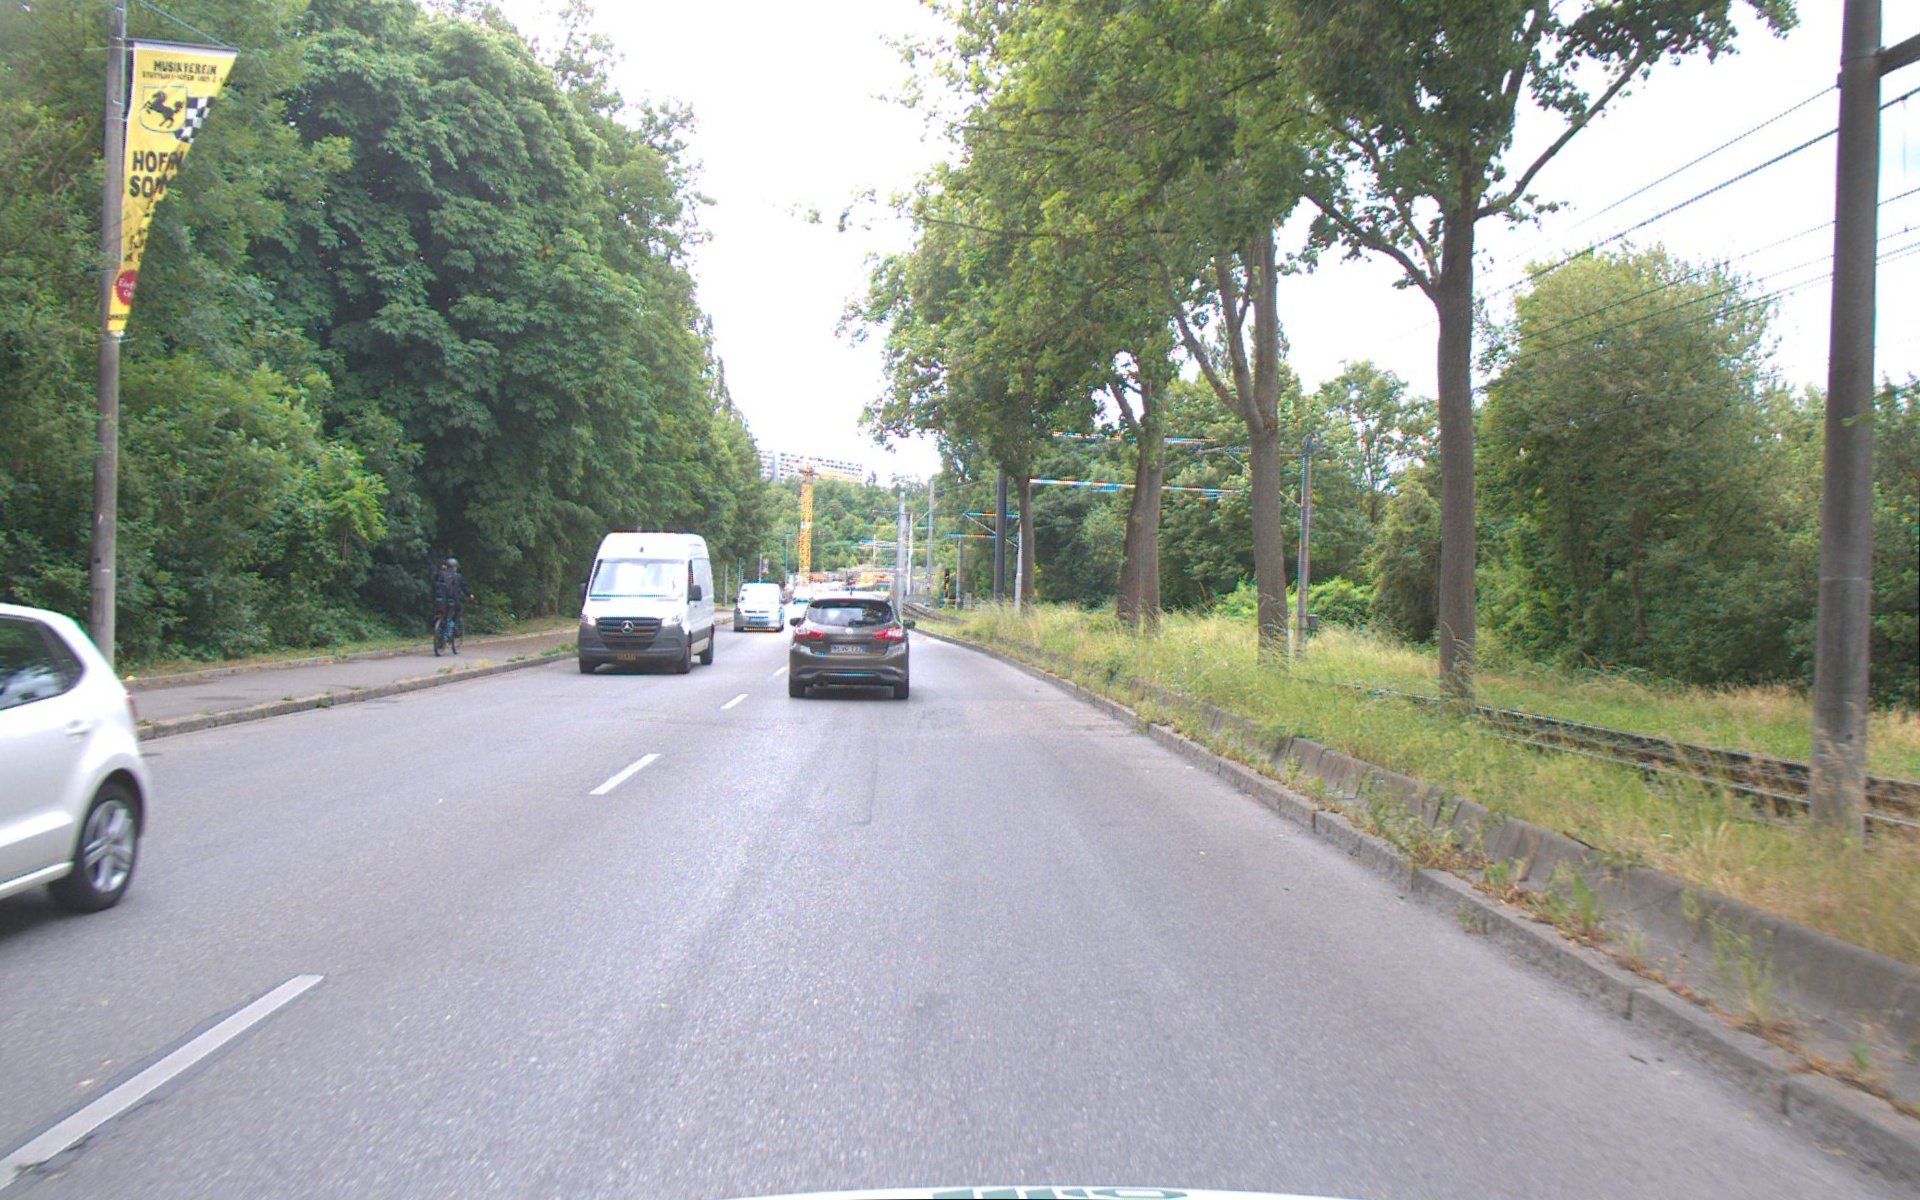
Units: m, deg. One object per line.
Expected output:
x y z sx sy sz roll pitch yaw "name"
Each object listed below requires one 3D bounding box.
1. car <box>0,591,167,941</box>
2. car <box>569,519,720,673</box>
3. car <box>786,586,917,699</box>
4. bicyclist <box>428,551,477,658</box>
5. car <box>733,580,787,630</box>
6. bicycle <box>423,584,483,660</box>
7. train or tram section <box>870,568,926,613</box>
-4.805 0.675 6.375 1.690 1.453 3.998 1 0 -3 "car"
-5.964 -0.087 32.009 1.953 2.672 5.892 1 0 -2 "car"
-1.683 0.594 25.031 1.794 1.536 3.996 1 0 -5 "car"
-9.600 0.085 31.304 0.674 1.982 0.834 3 -1 -8 "bicyclist"
-7.607 0.148 63.166 1.820 1.830 4.553 0 0 -4 "car"
-9.639 0.396 31.494 0.685 1.354 2.276 3 0 -8 "bicycle"
-8.655 -1.134 225.380 2.976 5.273 22.971 3 -2 -13 "train or tram section"
